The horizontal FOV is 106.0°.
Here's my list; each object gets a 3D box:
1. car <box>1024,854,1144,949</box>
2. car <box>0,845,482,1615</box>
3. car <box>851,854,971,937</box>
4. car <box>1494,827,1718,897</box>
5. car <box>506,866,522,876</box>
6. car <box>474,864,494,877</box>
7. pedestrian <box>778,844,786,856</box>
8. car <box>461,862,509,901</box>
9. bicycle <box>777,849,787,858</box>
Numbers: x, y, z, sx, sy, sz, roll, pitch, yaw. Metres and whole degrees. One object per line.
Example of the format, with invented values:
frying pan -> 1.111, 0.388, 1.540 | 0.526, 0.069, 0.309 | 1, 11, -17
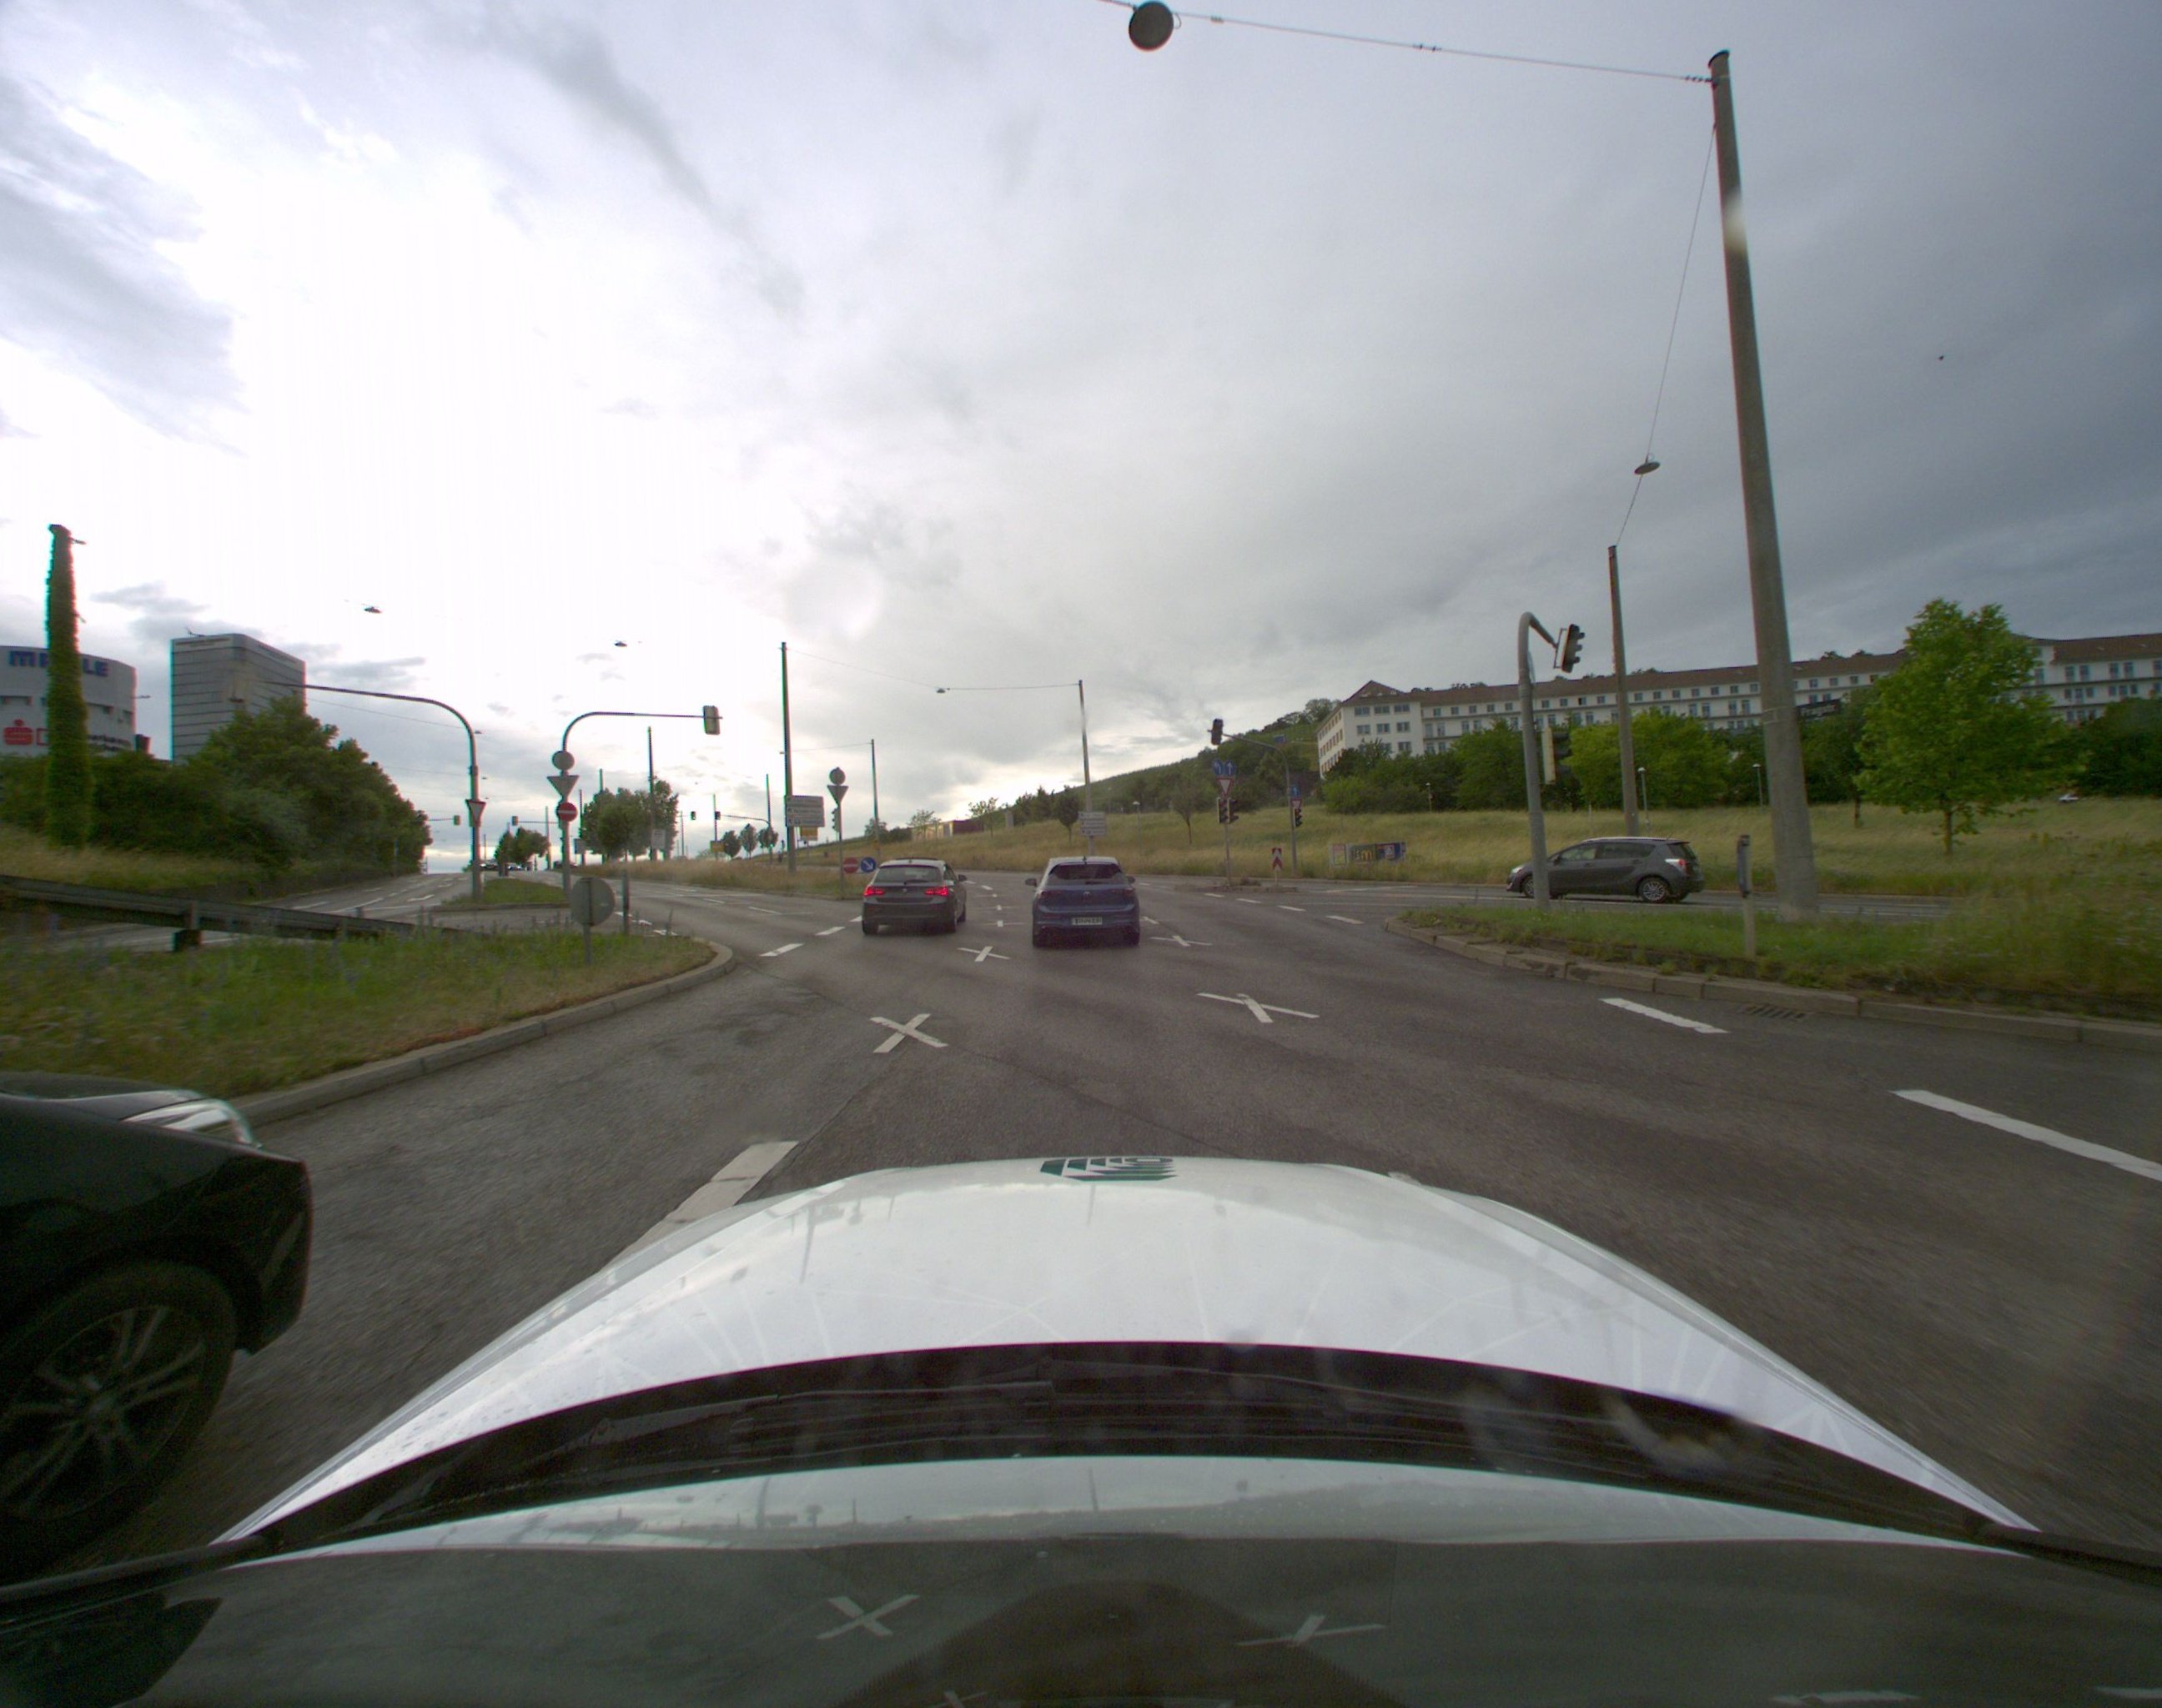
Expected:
car -> 0.001, 0.736, 14.550 | 1.833, 1.393, 3.998 | -1, 0, -2
car -> -3.133, 0.757, 0.891 | 1.788, 1.565, 4.046 | 1, 0, 3
car -> -3.383, 0.763, 16.893 | 1.865, 1.461, 3.970 | -1, 0, -4
car -> 13.722, 0.238, 21.516 | 2.010, 1.642, 4.574 | 1, -2, -40
car -> -87.541, 2.614, 125.707 | 1.824, 1.469, 3.571 | 0, -1, -38
car -> -78.939, 2.221, 107.718 | 1.877, 1.620, 3.953 | -1, 0, -40
pedestrian -> -40.014, -0.521, 108.880 | 0.638, 1.570, 0.885 | -3, 1, -42
car -> -33.708, 1.511, 46.147 | 2.009, 2.013, 3.956 | -3, 1, -35
bicycle -> -39.981, -0.030, 108.873 | 0.638, 1.105, 1.732 | -4, 0, -42
